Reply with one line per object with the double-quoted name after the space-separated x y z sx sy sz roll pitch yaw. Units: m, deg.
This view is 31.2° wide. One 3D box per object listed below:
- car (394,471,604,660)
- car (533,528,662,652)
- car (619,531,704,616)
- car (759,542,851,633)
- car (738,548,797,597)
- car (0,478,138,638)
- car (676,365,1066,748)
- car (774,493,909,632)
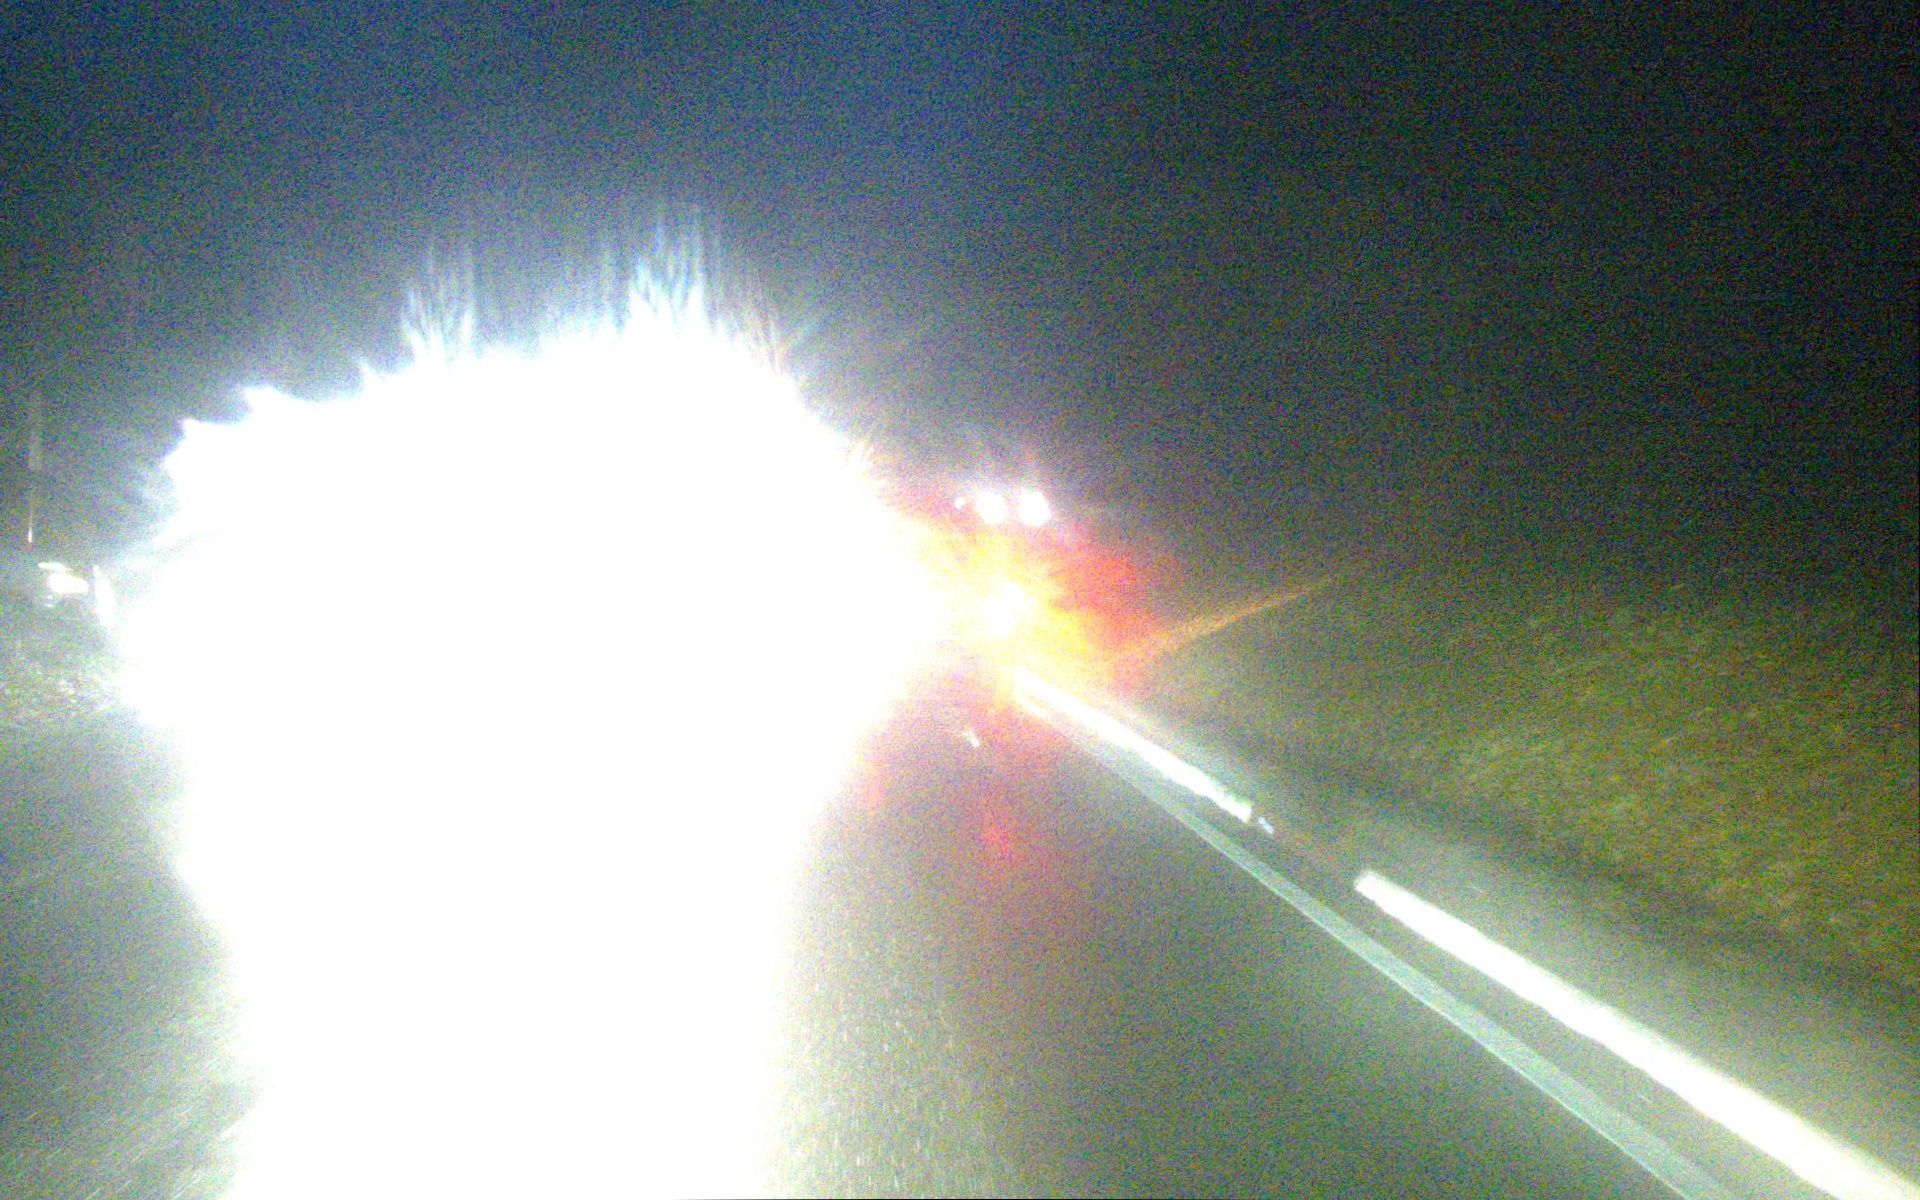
-4.617 -0.395 34.883 1.753 1.728 4.001 2 2 -4 "car"
-6.486 -0.184 61.819 1.993 2.060 4.000 3 0 -3 "car"
-7.128 -0.639 82.309 1.891 1.904 3.796 3 0 -4 "car"
-3.196 -0.230 71.439 1.740 1.708 3.700 2 -1 -1 "car"
-6.116 -0.876 109.492 1.660 1.476 3.585 3 0 -1 "car"
-11.802 -0.471 38.236 4.911 1.729 2.000 0 1 -4 "car"
-0.721 -0.354 25.364 2.538 2.489 5.715 0 1 -3 "car"
-1.902 -0.563 55.057 1.993 2.007 4.000 3 -2 -2 "car"
